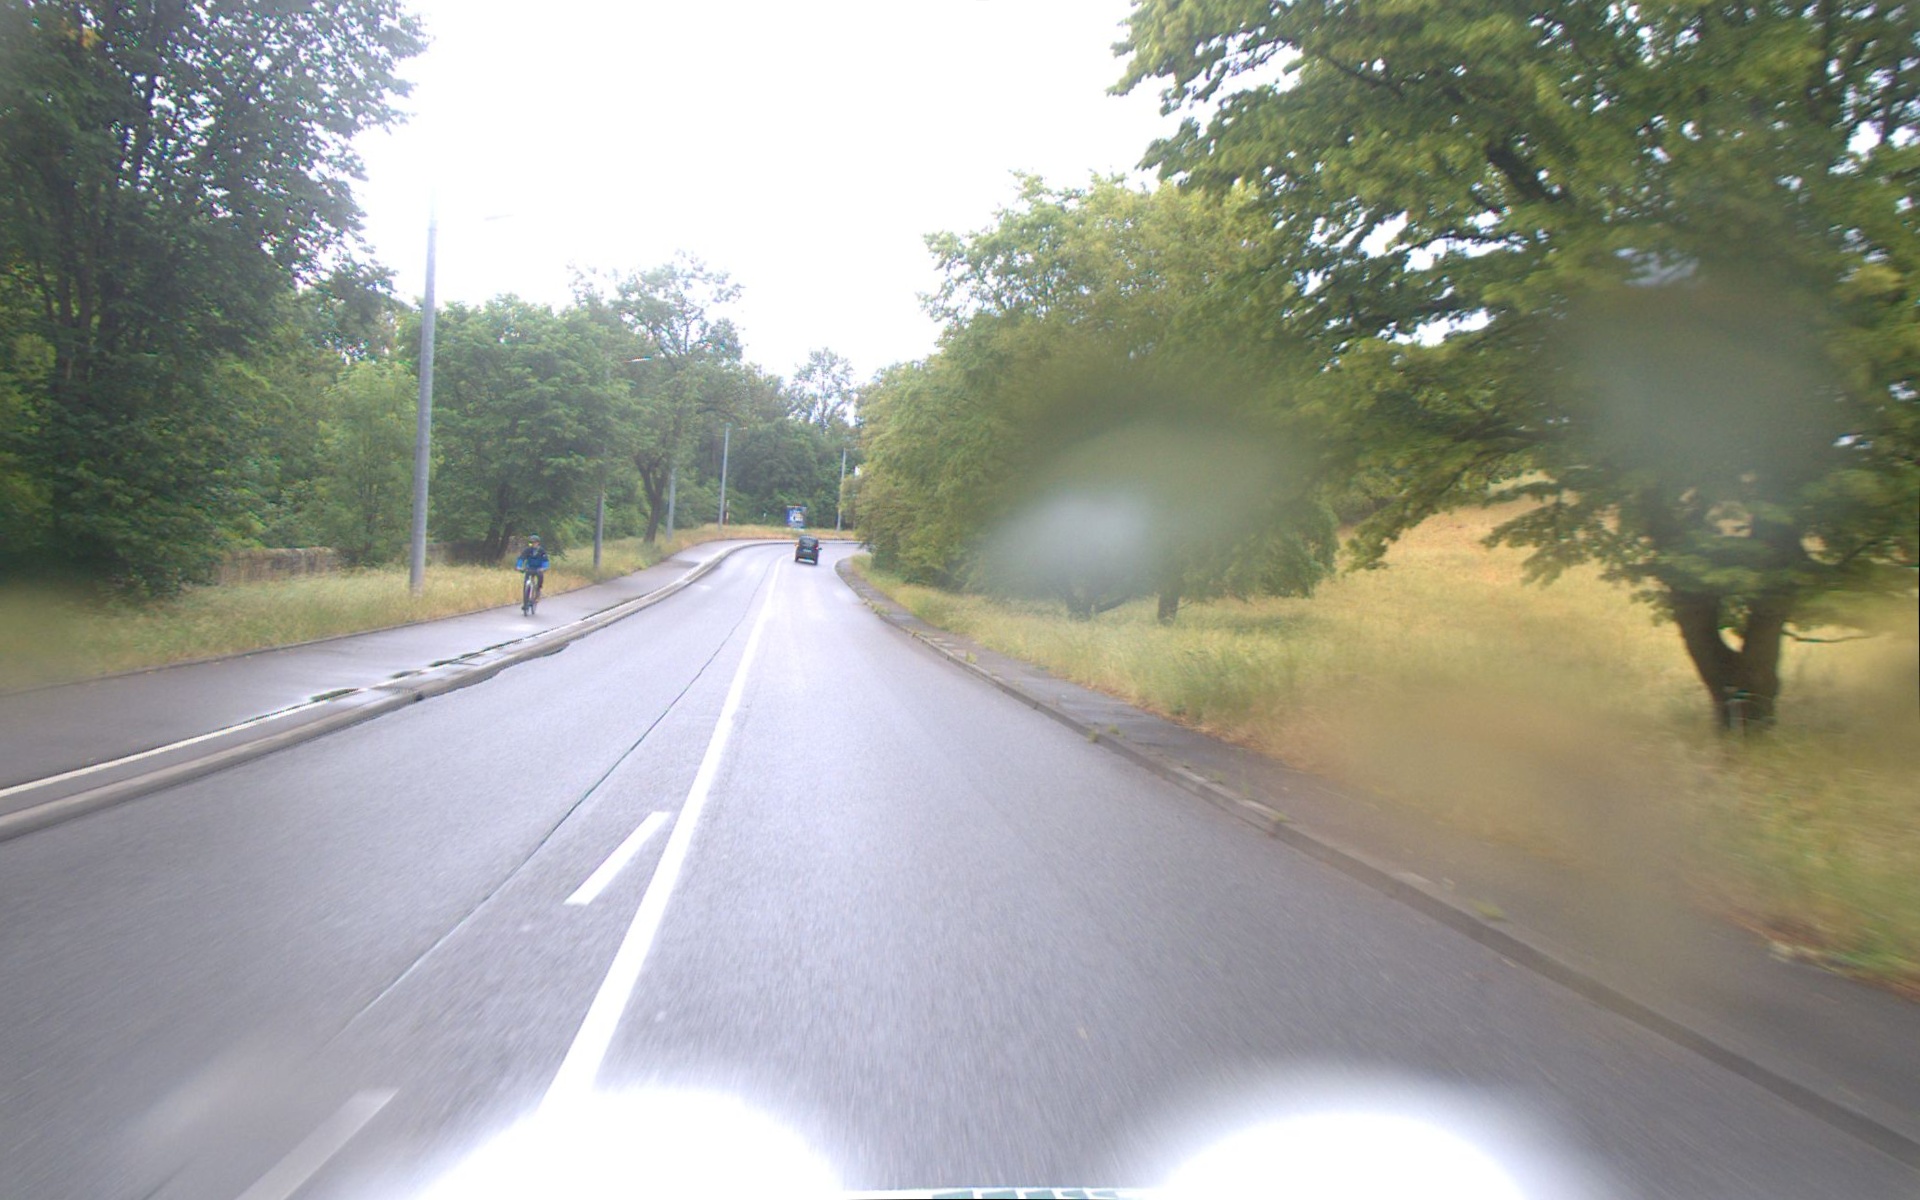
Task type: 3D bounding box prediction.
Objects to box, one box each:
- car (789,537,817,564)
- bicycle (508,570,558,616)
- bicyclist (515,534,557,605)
[{"bbox_3d":[-11.209,-3.524,118.274,1.707,1.746,3.998,5,1,-3],"label":"car"},{"bbox_3d":[-10.078,-0.177,39.089,0.710,0.958,2.547,5,1,-6],"label":"bicycle"},{"bbox_3d":[-10.048,-0.727,39.222,0.695,1.582,1.169,5,1,-7],"label":"bicyclist"}]
